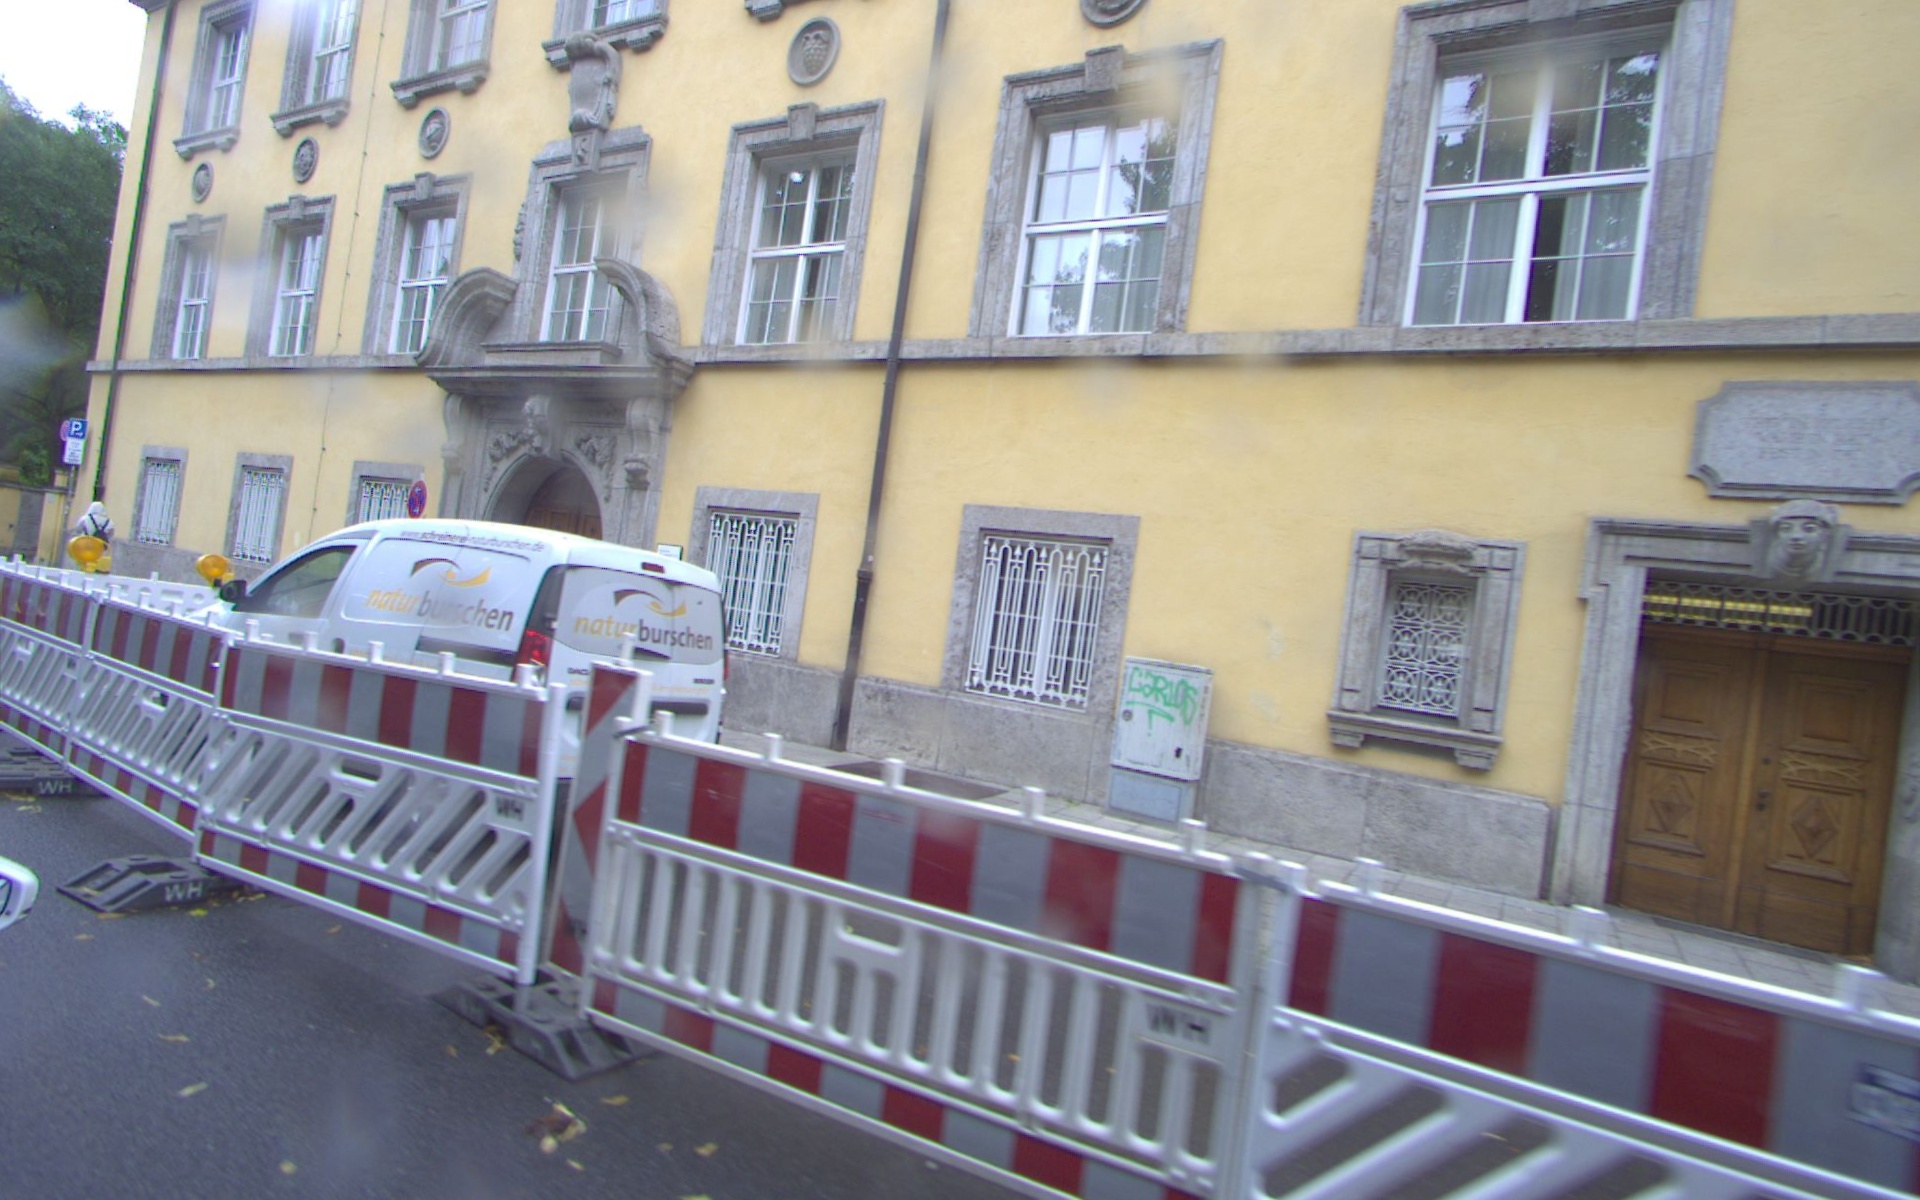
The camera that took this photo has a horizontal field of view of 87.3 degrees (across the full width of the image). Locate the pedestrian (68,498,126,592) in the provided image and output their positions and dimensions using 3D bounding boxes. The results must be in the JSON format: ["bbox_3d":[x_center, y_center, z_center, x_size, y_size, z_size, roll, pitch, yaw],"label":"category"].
[{"bbox_3d":[-16.100,-1.028,18.773,0.562,1.658,0.561,7,1,30],"label":"pedestrian"}]

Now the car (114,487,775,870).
[{"bbox_3d":[-3.573,0.355,6.798,4.281,1.770,1.744,6,-2,29],"label":"car"}]

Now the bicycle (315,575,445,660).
[{"bbox_3d":[-8.694,0.249,15.056,2.022,1.018,0.681,6,-1,30],"label":"bicycle"}]
